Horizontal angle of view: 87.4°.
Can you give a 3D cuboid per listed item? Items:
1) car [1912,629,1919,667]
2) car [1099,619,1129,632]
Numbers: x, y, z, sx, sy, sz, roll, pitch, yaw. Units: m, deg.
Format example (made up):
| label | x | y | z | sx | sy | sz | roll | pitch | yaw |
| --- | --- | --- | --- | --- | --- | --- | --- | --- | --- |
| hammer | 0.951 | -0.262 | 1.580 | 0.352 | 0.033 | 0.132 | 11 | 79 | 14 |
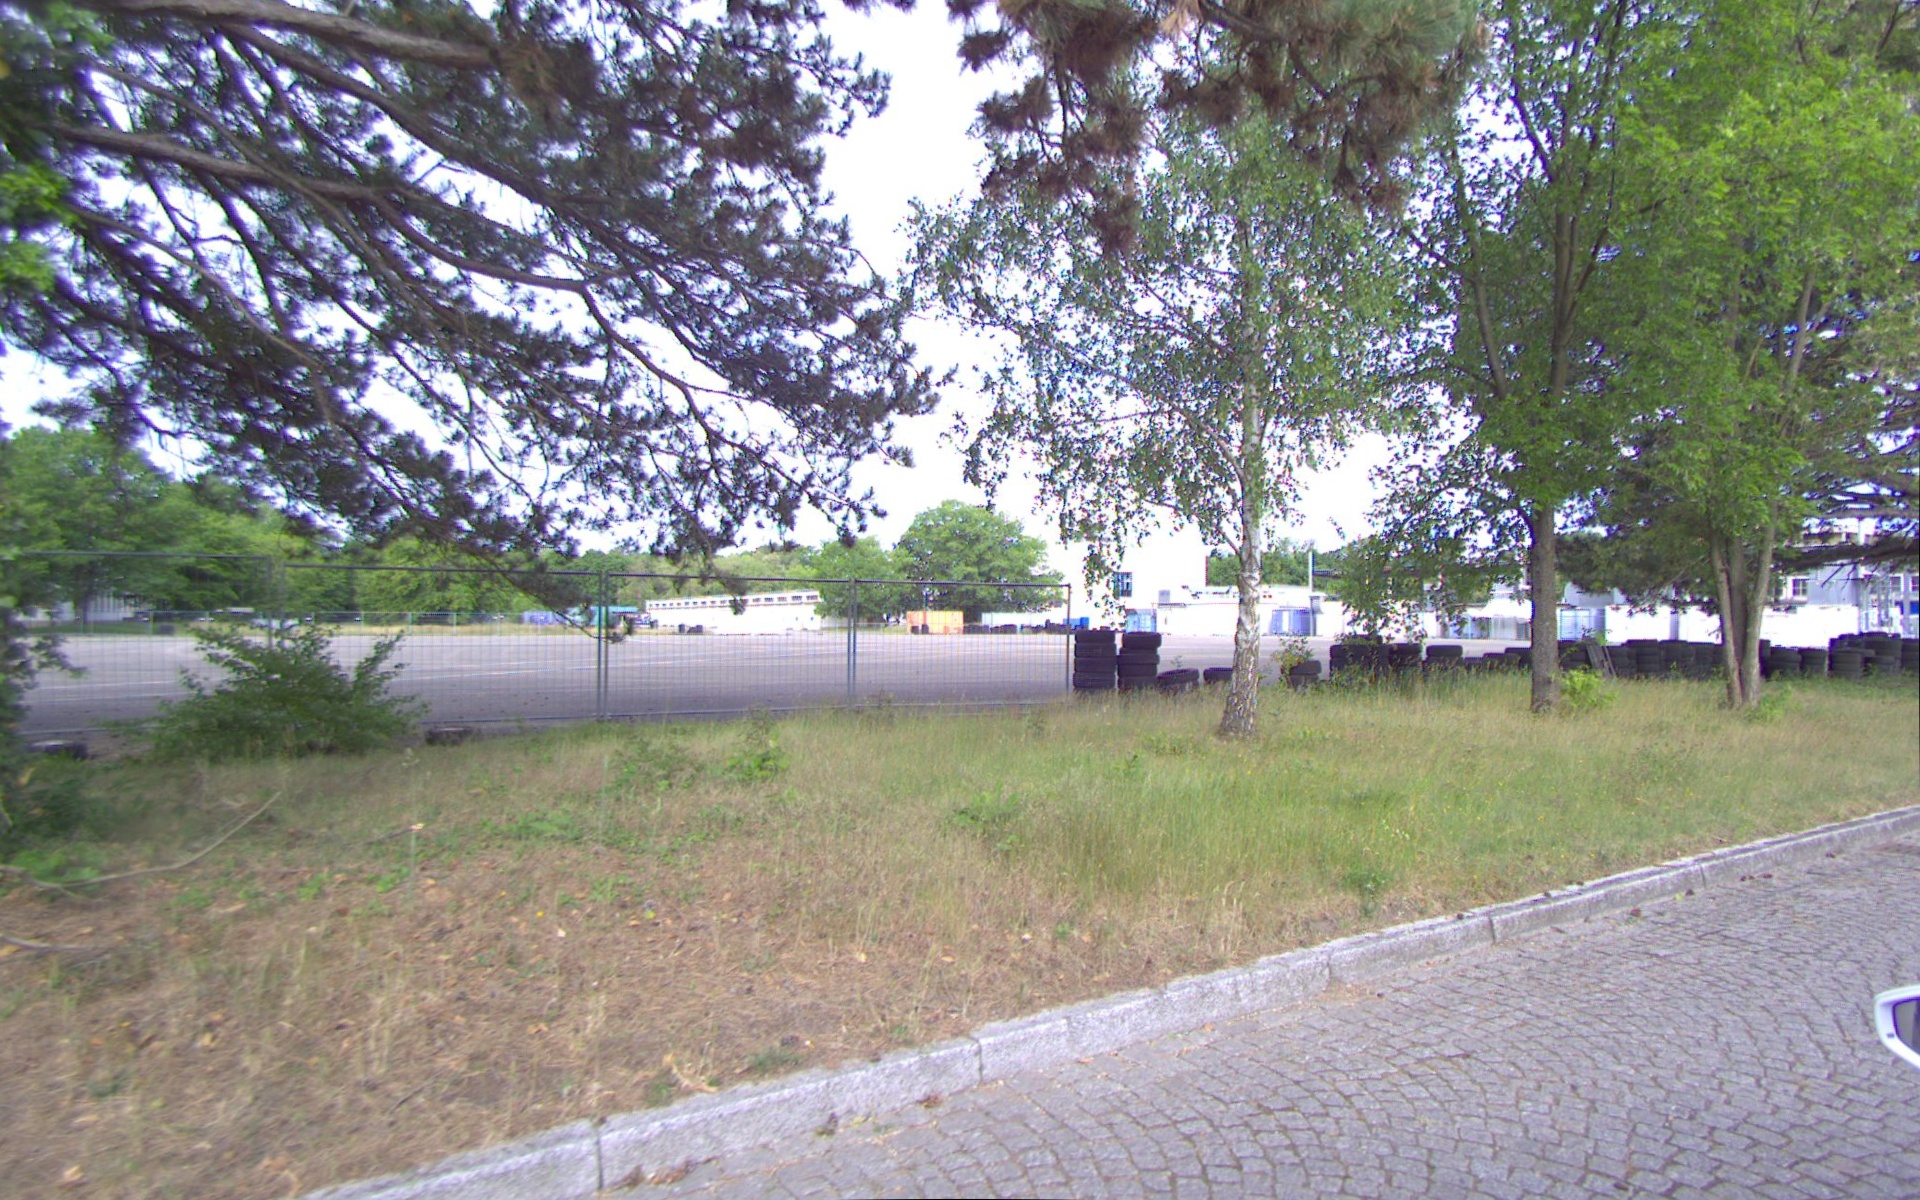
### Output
| label | x | y | z | sx | sy | sz | roll | pitch | yaw |
| --- | --- | --- | --- | --- | --- | --- | --- | --- | --- |
| car | 38.722 | 1.850 | 38.727 | 4.009 | 1.452 | 1.620 | 0 | -1 | -26 |
| car | 20.378 | 3.351 | 132.939 | 1.809 | 1.655 | 4.086 | 1 | -1 | -29 |
